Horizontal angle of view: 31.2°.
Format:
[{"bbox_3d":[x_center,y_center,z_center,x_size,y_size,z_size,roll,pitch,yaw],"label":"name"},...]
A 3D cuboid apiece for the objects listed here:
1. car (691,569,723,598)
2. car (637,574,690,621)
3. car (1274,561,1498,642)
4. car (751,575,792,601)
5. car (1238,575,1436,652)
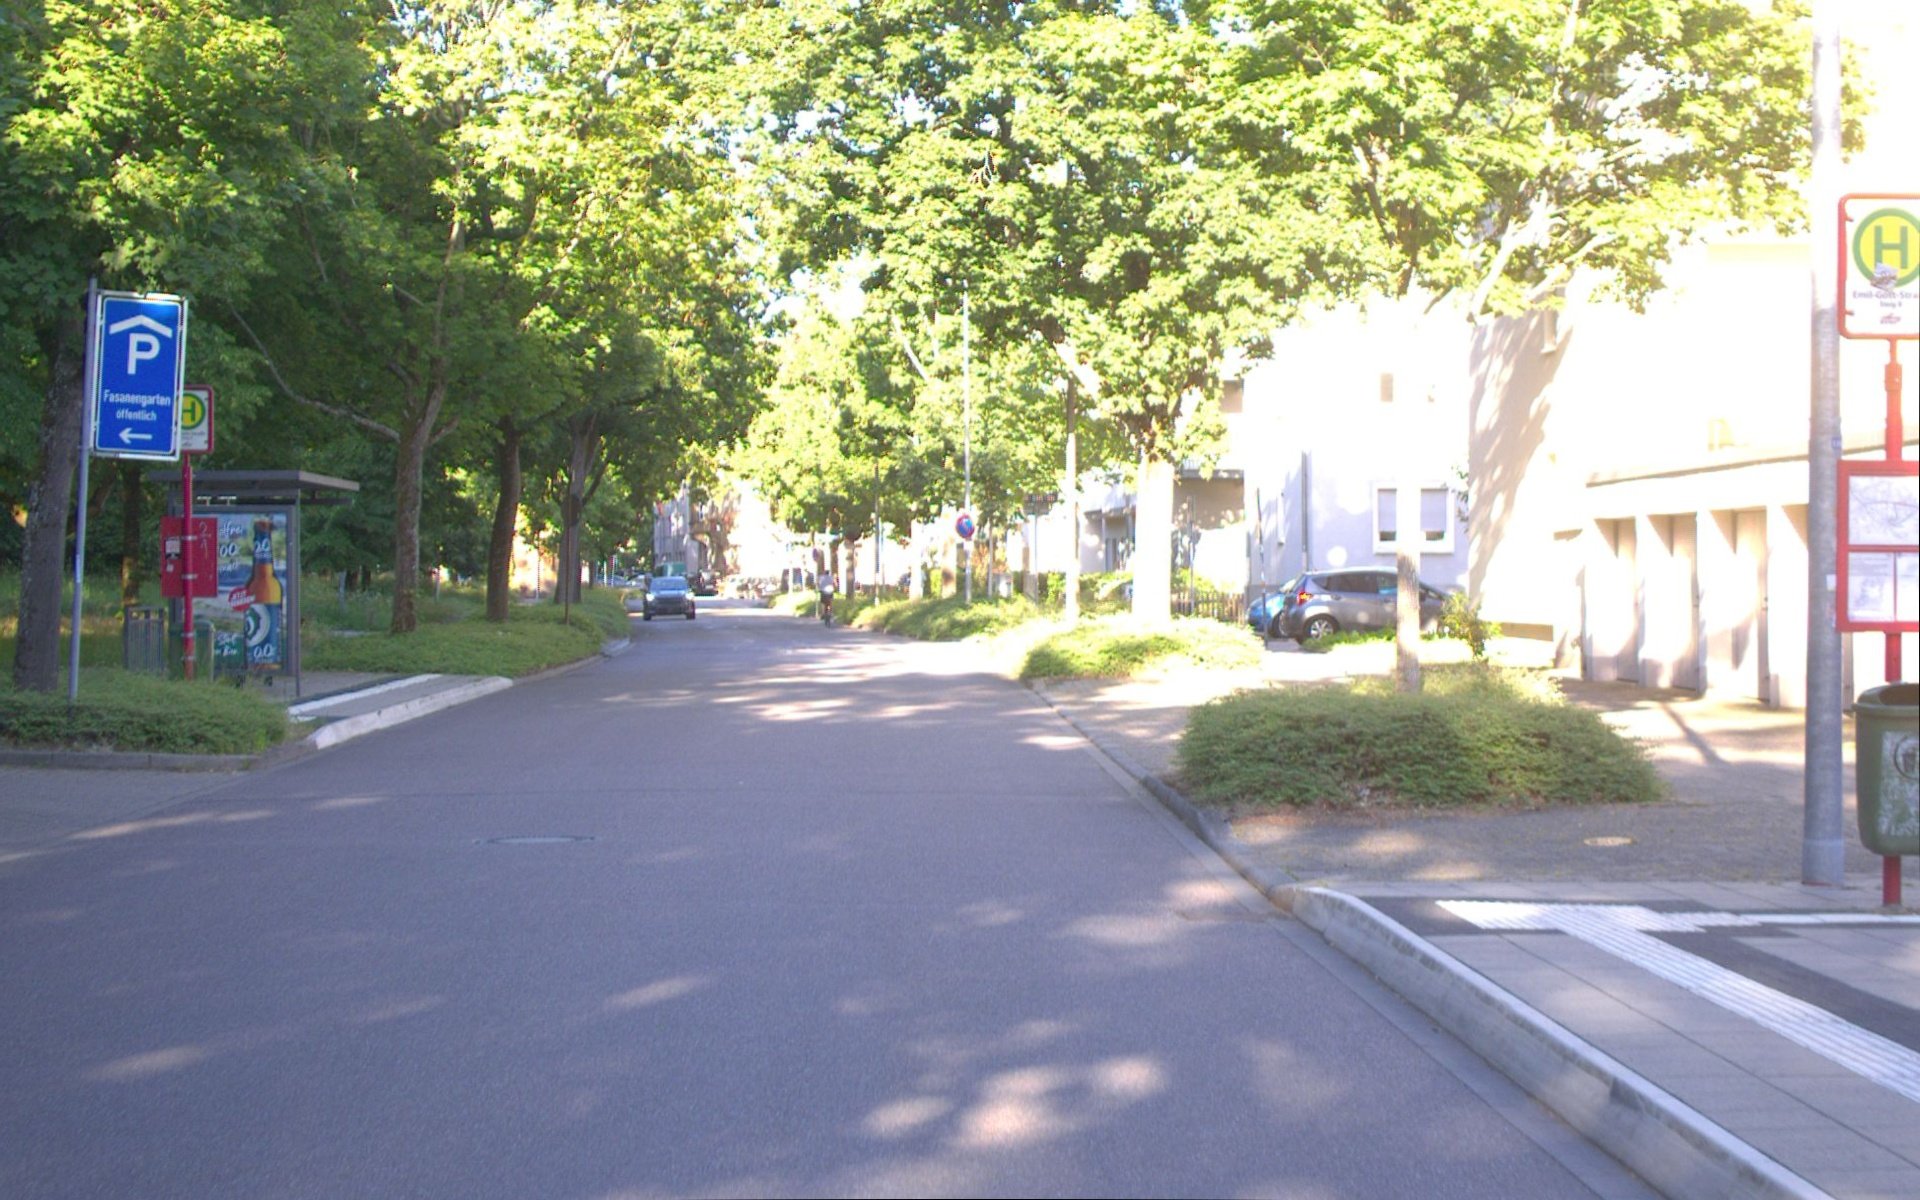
[{"bbox_3d":[-17.375,-1.142,236.029,1.811,1.919,4.001,1,1,-9],"label":"car"},{"bbox_3d":[-10.737,-0.121,124.715,1.844,1.573,4.336,-2,1,-5],"label":"car"},{"bbox_3d":[8.275,0.037,66.961,4.040,1.509,1.727,1,-1,-4],"label":"car"},{"bbox_3d":[-11.389,-0.728,207.733,1.811,1.496,4.001,-1,1,-13],"label":"car"},{"bbox_3d":[8.149,0.272,74.496,3.986,1.576,1.810,0,2,-6],"label":"car"}]
